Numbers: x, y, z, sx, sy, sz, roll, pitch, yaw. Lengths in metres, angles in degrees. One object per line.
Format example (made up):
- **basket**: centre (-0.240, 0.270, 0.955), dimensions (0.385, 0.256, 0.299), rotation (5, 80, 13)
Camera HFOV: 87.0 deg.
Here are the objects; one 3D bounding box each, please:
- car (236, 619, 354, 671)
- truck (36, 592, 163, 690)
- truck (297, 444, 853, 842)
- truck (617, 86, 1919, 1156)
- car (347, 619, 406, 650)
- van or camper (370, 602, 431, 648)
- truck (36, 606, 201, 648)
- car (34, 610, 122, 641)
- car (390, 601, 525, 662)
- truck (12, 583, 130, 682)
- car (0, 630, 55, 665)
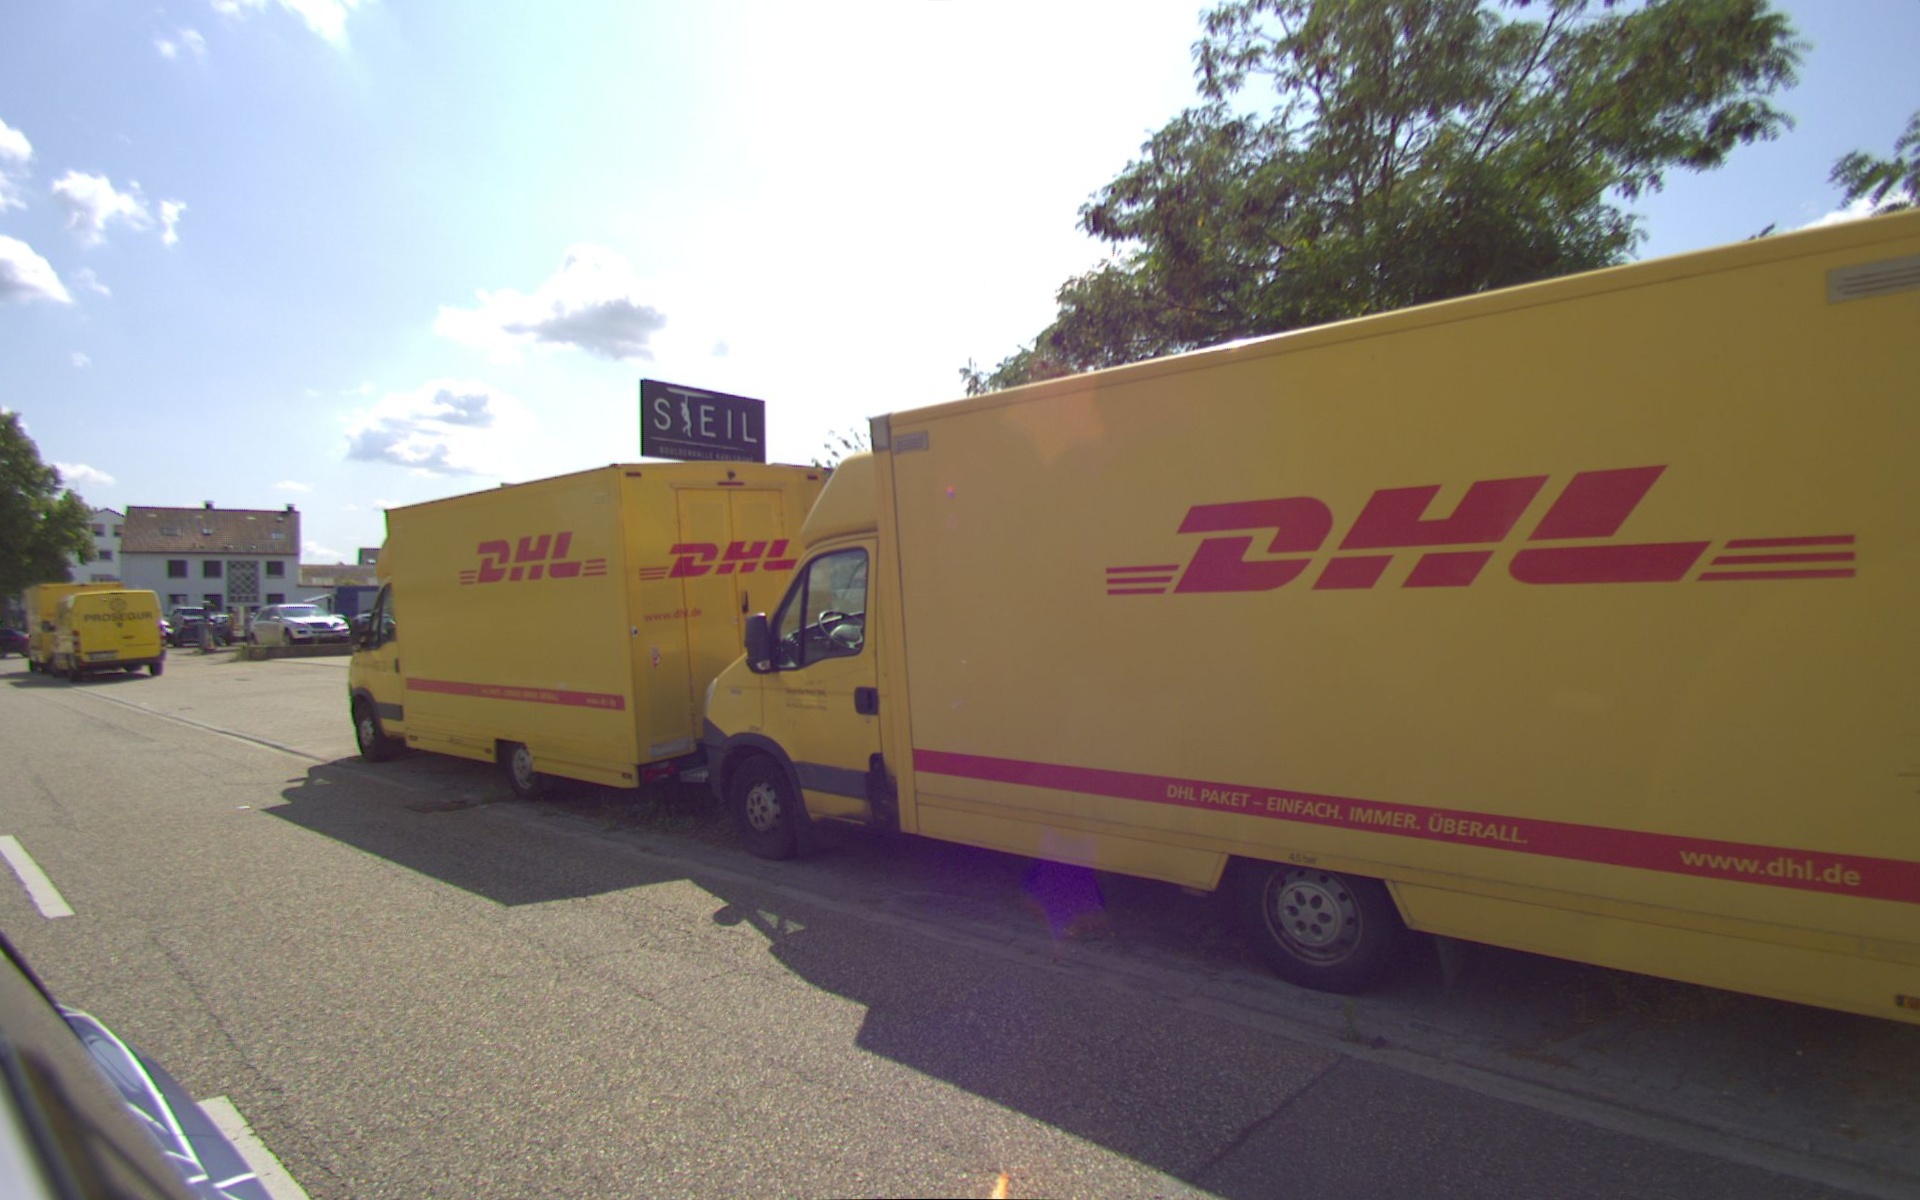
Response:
- **car**: centre (-23.837, 1.584, 36.215), dimensions (4.694, 1.718, 1.814), rotation (-2, -1, 33)
- **truck**: centre (-24.169, 1.094, 28.332), dimensions (6.064, 2.431, 1.972), rotation (-2, 1, 43)
- **truck**: centre (-4.418, 0.340, 10.526), dimensions (7.171, 2.876, 2.245), rotation (-1, 1, 41)
- **truck**: centre (1.054, 0.088, 5.625), dimensions (7.102, 2.884, 2.292), rotation (-2, 2, 42)
- **car**: centre (-26.498, 1.574, 45.917), dimensions (1.867, 1.300, 3.758), rotation (-1, -2, -37)
- **van or camper**: centre (-32.113, 1.447, 58.008), dimensions (1.969, 2.494, 5.369), rotation (-1, -2, -40)
- **truck**: centre (-61.392, 1.951, 74.079), dimensions (9.150, 2.878, 2.722), rotation (0, -2, -44)
- **car**: centre (-68.031, 1.949, 78.186), dimensions (4.934, 2.248, 2.005), rotation (-1, 0, -36)
- **car**: centre (-17.522, 1.051, 35.353), dimensions (3.879, 1.823, 1.859), rotation (-3, 1, -39)
- **truck**: centre (-29.286, 1.021, 33.220), dimensions (7.070, 2.878, 2.196), rotation (-2, 1, 44)
- **car**: centre (-43.288, 2.155, 44.729), dimensions (4.522, 1.405, 2.003), rotation (-2, 1, -6)
